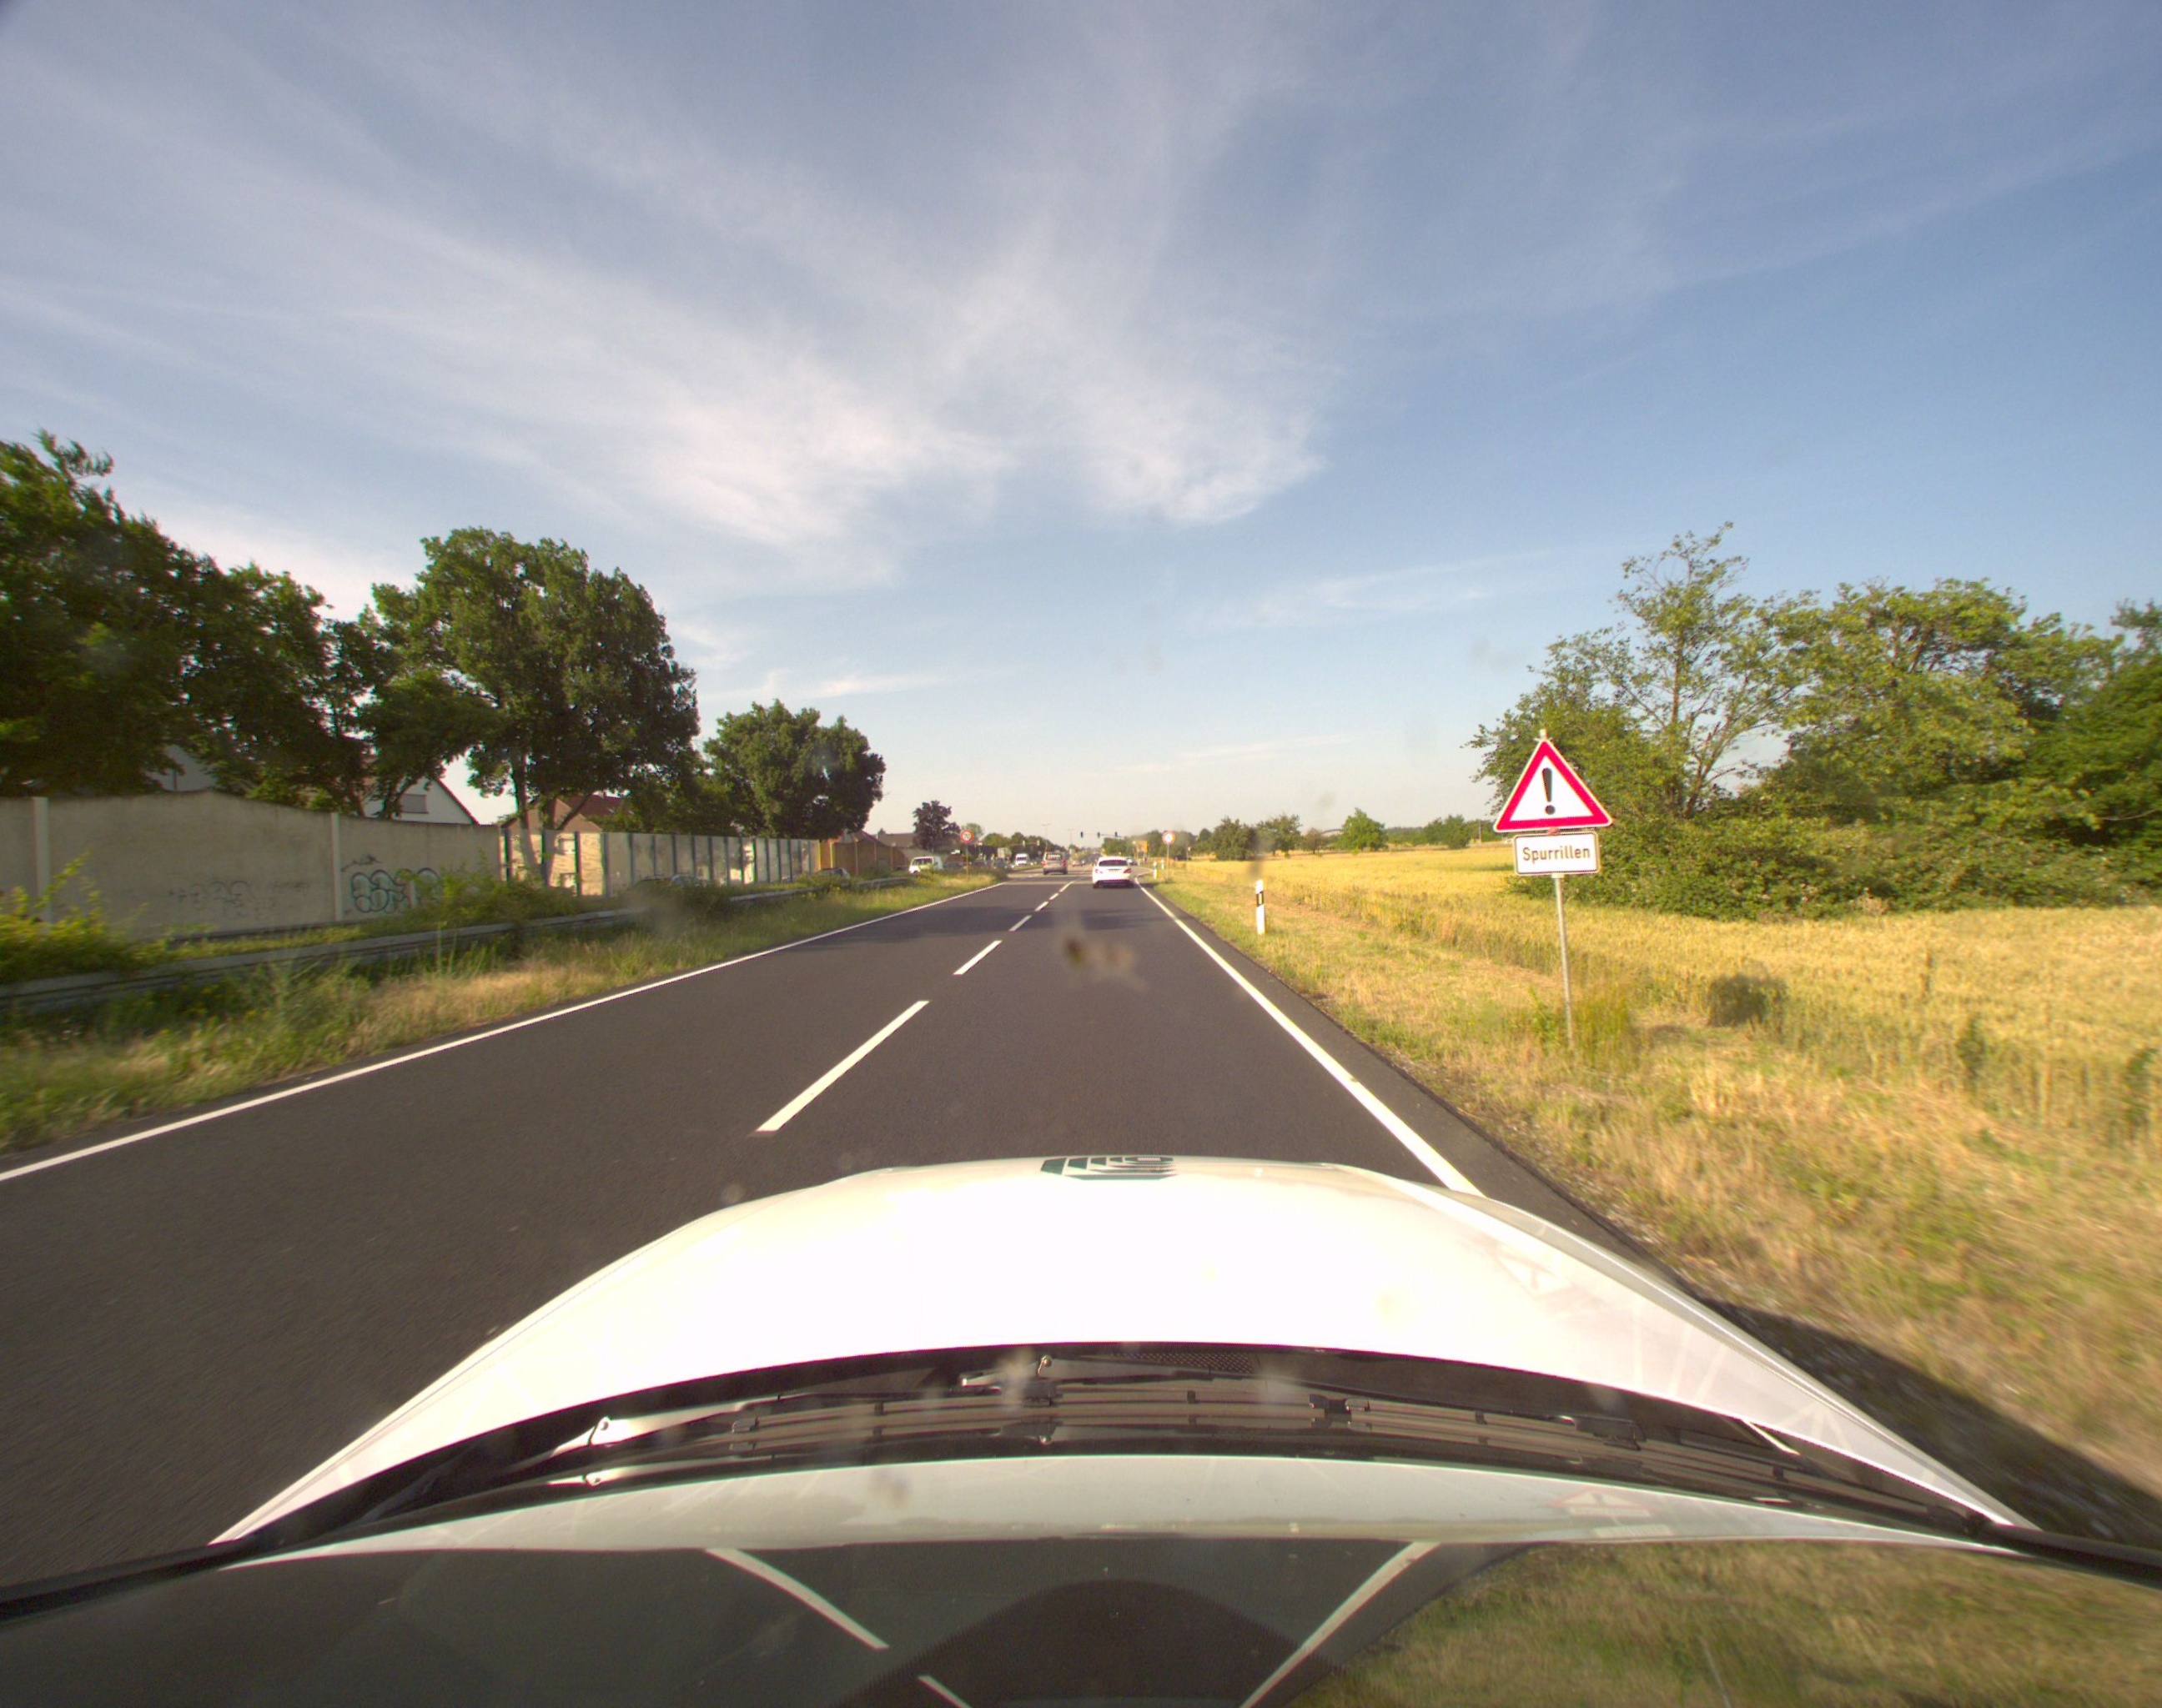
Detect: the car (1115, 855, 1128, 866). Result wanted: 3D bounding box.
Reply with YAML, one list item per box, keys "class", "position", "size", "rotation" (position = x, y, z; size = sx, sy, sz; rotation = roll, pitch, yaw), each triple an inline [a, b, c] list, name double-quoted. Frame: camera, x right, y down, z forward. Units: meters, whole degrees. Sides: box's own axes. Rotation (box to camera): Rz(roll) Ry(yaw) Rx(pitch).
- class: "car"
  position: [5.890, 0.972, 118.868]
  size: [1.747, 1.517, 4.002]
  rotation: [-2, 0, 2]

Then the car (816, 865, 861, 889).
- class: "car"
  position: [-15.497, 1.450, 52.204]
  size: [1.668, 1.378, 3.608]
  rotation: [-1, 0, 2]

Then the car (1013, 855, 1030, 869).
- class: "car"
  position: [-9.990, 1.329, 137.394]
  size: [2.340, 2.303, 7.191]
  rotation: [-1, 0, 1]

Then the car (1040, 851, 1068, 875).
- class: "car"
  position: [-2.194, 0.739, 68.086]
  size: [2.017, 1.892, 4.961]
  rotation: [-1, 0, 2]

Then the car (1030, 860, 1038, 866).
- class: "car"
  position: [-12.090, 2.283, 208.585]
  size: [1.716, 1.706, 4.002]
  rotation: [-1, 0, 2]

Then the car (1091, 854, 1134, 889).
- class: "car"
  position: [1.422, 0.783, 37.836]
  size: [1.888, 1.509, 4.001]
  rotation: [-1, 0, 1]

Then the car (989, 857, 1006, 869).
- class: "car"
  position: [-10.480, 1.120, 102.940]
  size: [1.642, 1.442, 3.570]
  rotation: [-1, 0, 2]

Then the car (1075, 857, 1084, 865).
- class: "car"
  position: [-0.302, 1.492, 177.991]
  size: [1.771, 1.665, 3.660]
  rotation: [-1, 0, -2]

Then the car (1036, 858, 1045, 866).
- class: "car"
  position: [-8.678, 1.755, 174.359]
  size: [1.725, 1.625, 4.923]
  rotation: [-1, 0, 1]

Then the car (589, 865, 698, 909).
- class: "car"
  position: [-15.757, 1.138, 29.579]
  size: [1.748, 1.442, 4.000]
  rotation: [-1, 0, 0]

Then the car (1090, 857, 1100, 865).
- class: "car"
  position: [2.938, 1.407, 174.952]
  size: [1.835, 1.684, 3.996]
  rotation: [-1, 0, -2]

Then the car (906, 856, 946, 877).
- class: "car"
  position: [-11.809, 0.931, 62.298]
  size: [1.974, 1.484, 5.060]
  rotation: [-1, 0, 1]

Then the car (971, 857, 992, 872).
- class: "car"
  position: [-10.346, 1.040, 84.772]
  size: [1.509, 1.465, 4.660]
  rotation: [-1, 0, 1]

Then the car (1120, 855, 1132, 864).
- class: "car"
  position: [7.917, 0.968, 142.709]
  size: [1.849, 1.598, 3.998]
  rotation: [-1, 0, -1]

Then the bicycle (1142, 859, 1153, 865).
- class: "bicycle"
  position: [12.987, 1.515, 158.480]
  size: [2.086, 1.089, 0.809]
  rotation: [-1, 0, 4]

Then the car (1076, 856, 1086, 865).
- class: "car"
  position: [0.028, 1.172, 142.833]
  size: [1.711, 1.492, 3.586]
  rotation: [-1, 0, 2]

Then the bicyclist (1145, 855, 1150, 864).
- class: "bicyclist"
  position: [12.943, 1.108, 158.497]
  size: [0.845, 1.756, 0.799]
  rotation: [-1, 0, 2]
